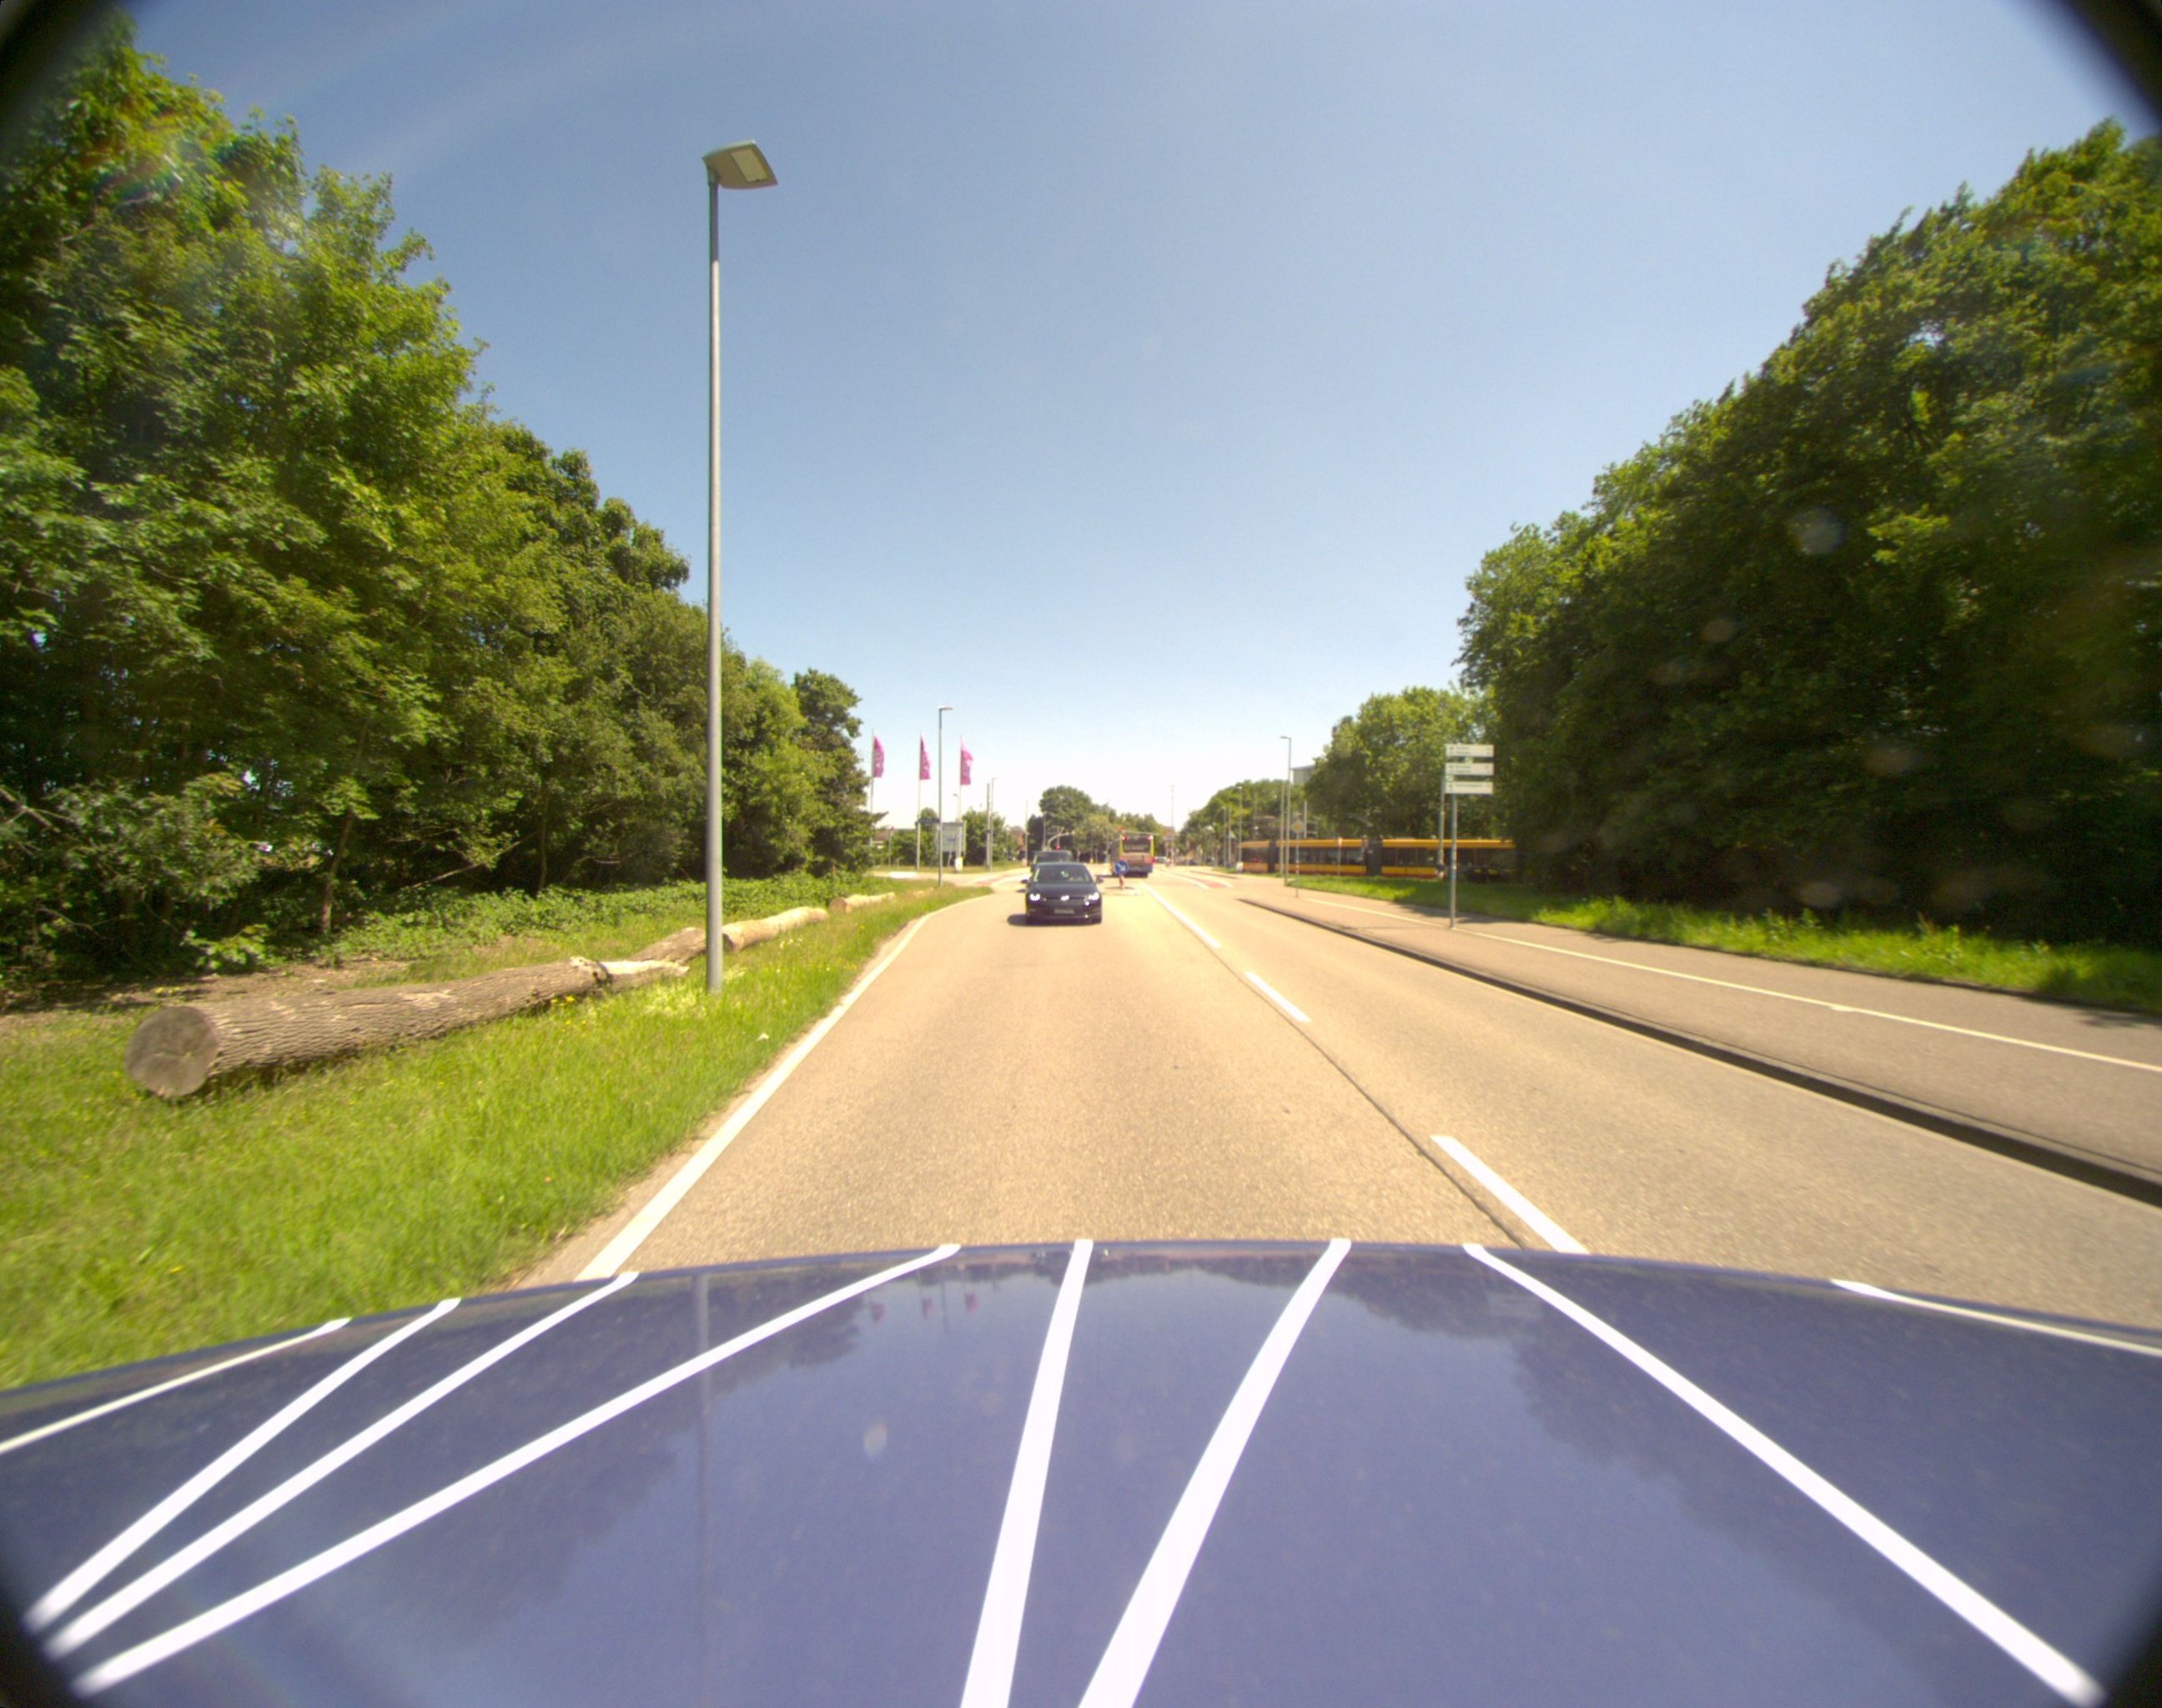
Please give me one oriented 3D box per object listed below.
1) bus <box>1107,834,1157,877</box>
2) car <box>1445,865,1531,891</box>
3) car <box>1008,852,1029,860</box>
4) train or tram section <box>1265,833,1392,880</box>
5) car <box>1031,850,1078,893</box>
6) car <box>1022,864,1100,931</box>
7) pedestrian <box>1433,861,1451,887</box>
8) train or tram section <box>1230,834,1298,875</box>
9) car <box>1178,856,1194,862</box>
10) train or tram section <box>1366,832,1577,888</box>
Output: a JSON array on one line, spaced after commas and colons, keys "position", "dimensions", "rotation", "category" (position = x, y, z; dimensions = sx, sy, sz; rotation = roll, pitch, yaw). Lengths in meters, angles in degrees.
[{"position": [3.968, 0.099, 61.944], "dimensions": [2.757, 3.027, 11.934], "rotation": [2, 0, -2], "category": "bus"}, {"position": [25.025, 1.446, 46.841], "dimensions": [4.305, 1.409, 1.668], "rotation": [1, 2, 11], "category": "car"}, {"position": [-13.815, 0.446, 168.072], "dimensions": [4.399, 1.566, 1.879], "rotation": [1, -1, 34], "category": "car"}, {"position": [21.556, 0.150, 67.239], "dimensions": [3.031, 3.737, 11.588], "rotation": [2, 0, -29], "category": "train or tram section"}, {"position": [-1.173, 0.774, 36.225], "dimensions": [1.941, 1.919, 4.847], "rotation": [0, 0, 1], "category": "car"}, {"position": [-0.398, 0.984, 18.660], "dimensions": [1.708, 1.396, 4.054], "rotation": [0, 0, 1], "category": "car"}, {"position": [24.123, 1.318, 50.746], "dimensions": [0.811, 1.699, 0.852], "rotation": [1, 0, -43], "category": "pedestrian"}, {"position": [18.573, 0.108, 78.188], "dimensions": [3.025, 3.737, 12.989], "rotation": [2, 0, -3], "category": "train or tram section"}, {"position": [24.237, 1.206, 175.187], "dimensions": [3.487, 1.419, 1.586], "rotation": [0, -2, 8], "category": "car"}, {"position": [29.613, 0.371, 58.394], "dimensions": [14.005, 3.737, 3.033], "rotation": [2, 0, 35], "category": "train or tram section"}]
